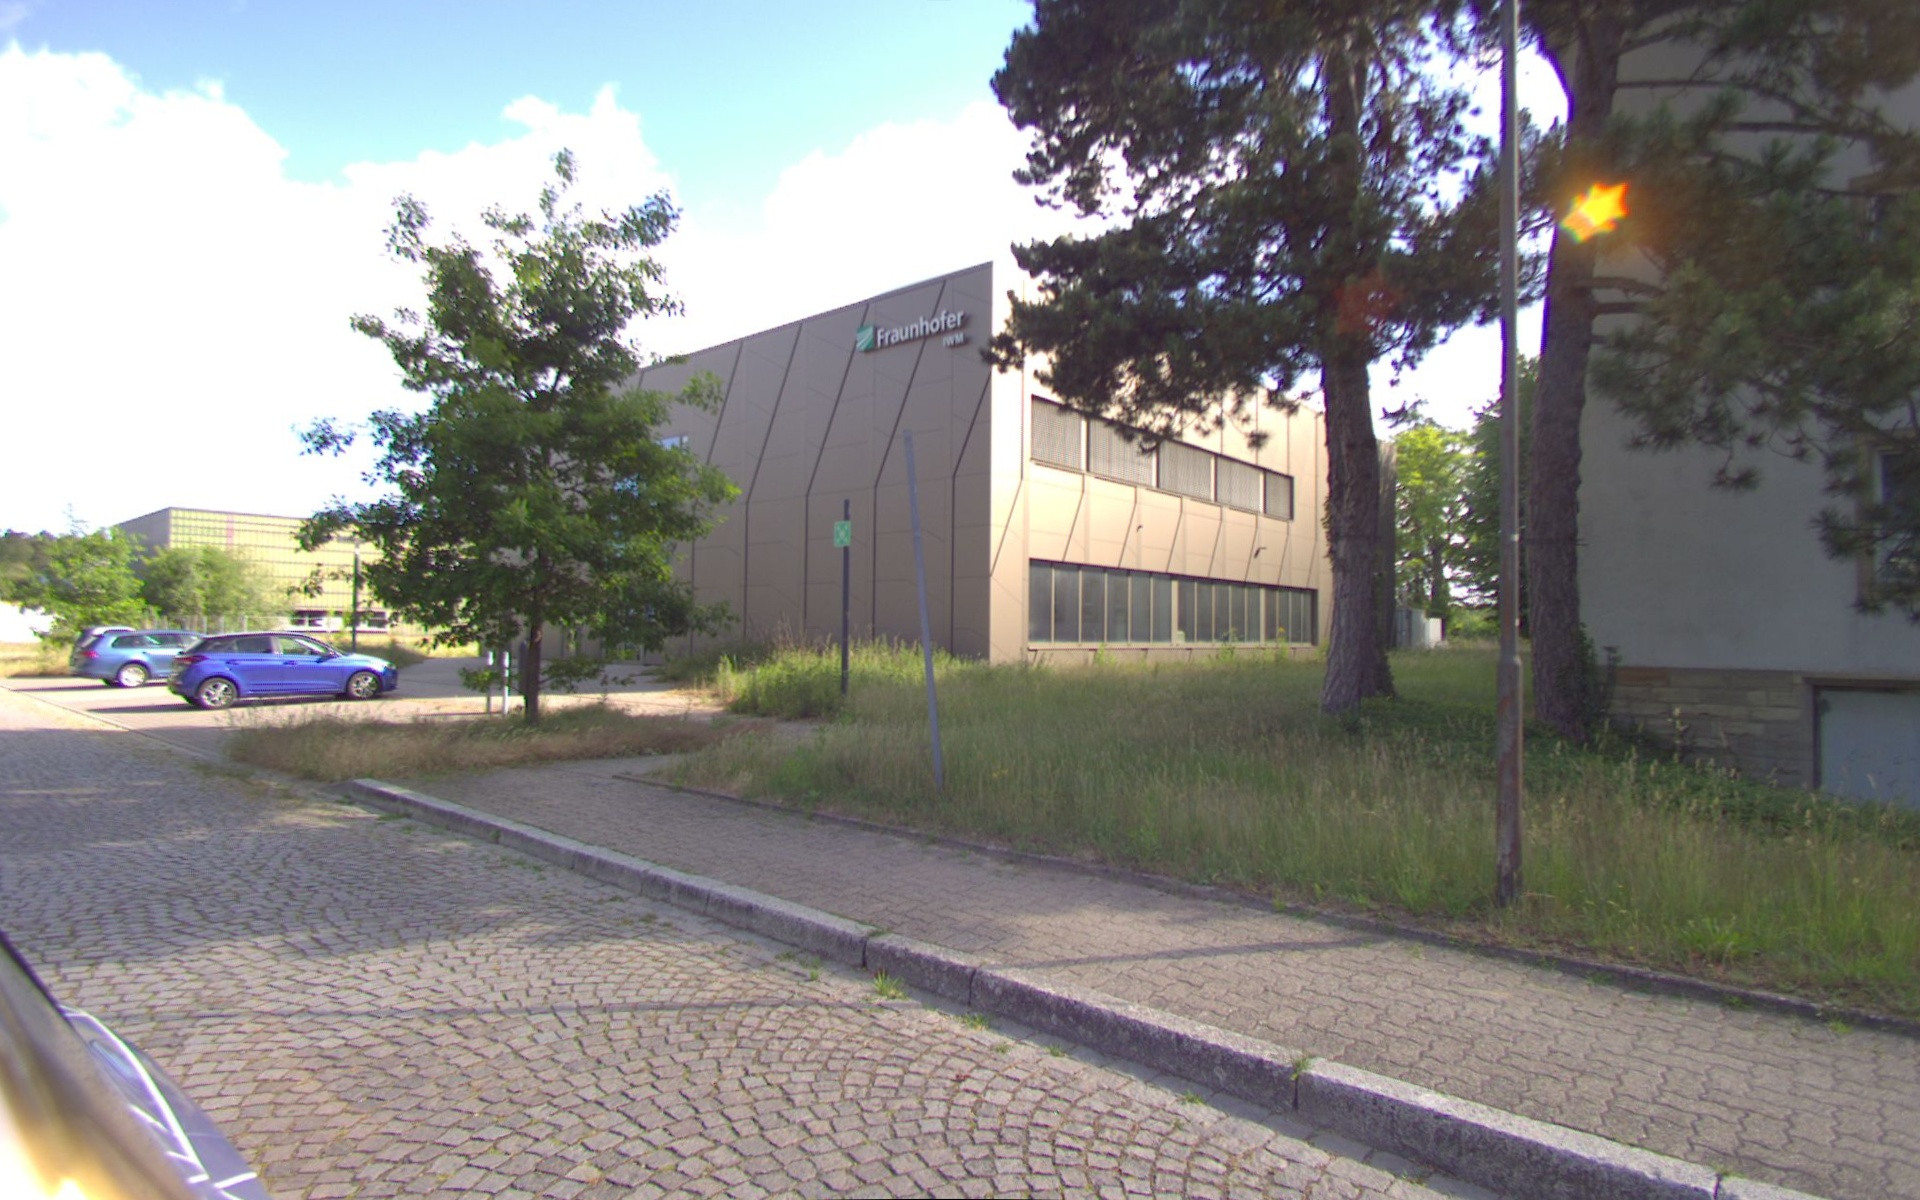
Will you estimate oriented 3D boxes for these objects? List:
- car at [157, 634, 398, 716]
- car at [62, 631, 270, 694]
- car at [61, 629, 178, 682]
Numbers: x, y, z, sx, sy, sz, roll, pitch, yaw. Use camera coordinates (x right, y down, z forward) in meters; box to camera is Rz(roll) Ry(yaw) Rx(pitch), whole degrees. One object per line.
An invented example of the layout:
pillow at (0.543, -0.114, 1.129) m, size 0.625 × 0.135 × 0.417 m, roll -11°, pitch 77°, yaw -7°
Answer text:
car at (-14.060, 1.465, 20.985) m, size 1.735 × 1.479 × 3.866 m, roll -2°, pitch -2°, yaw 43°
car at (-21.224, 1.614, 27.201) m, size 1.733 × 1.485 × 4.128 m, roll -1°, pitch -2°, yaw 39°
car at (-26.666, 1.717, 32.147) m, size 1.480 × 1.580 × 2.619 m, roll -2°, pitch -2°, yaw 39°
